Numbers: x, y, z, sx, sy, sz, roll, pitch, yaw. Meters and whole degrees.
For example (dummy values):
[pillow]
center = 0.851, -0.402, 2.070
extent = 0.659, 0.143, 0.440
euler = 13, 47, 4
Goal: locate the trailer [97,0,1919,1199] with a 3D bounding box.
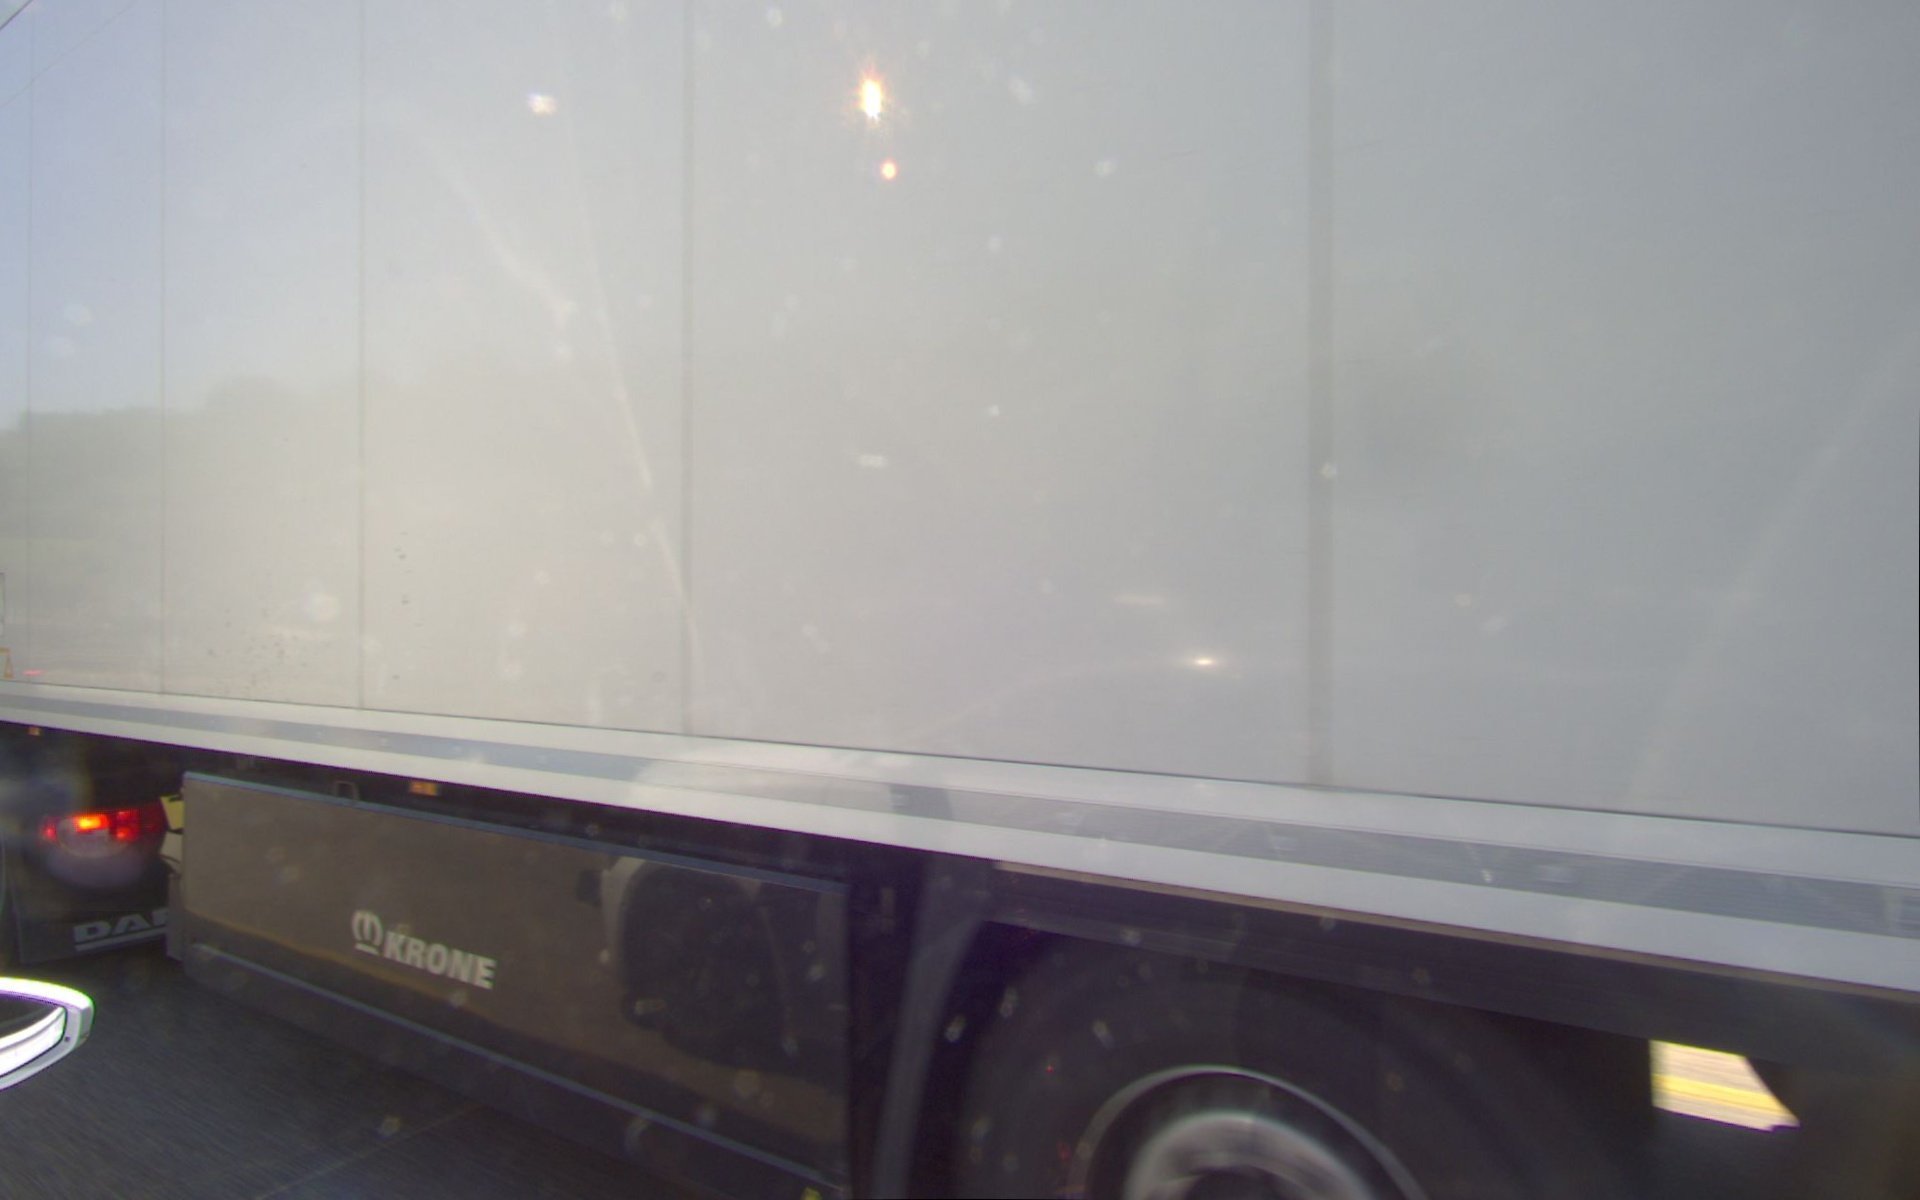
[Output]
[trailer]
center = 2.812, -0.598, 1.258
extent = 11.381, 4.179, 2.528
euler = -1, -2, 32

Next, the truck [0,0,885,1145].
[truck]
center = -4.446, -0.554, 5.779
extent = 8.120, 4.076, 2.509
euler = -1, -2, 32
